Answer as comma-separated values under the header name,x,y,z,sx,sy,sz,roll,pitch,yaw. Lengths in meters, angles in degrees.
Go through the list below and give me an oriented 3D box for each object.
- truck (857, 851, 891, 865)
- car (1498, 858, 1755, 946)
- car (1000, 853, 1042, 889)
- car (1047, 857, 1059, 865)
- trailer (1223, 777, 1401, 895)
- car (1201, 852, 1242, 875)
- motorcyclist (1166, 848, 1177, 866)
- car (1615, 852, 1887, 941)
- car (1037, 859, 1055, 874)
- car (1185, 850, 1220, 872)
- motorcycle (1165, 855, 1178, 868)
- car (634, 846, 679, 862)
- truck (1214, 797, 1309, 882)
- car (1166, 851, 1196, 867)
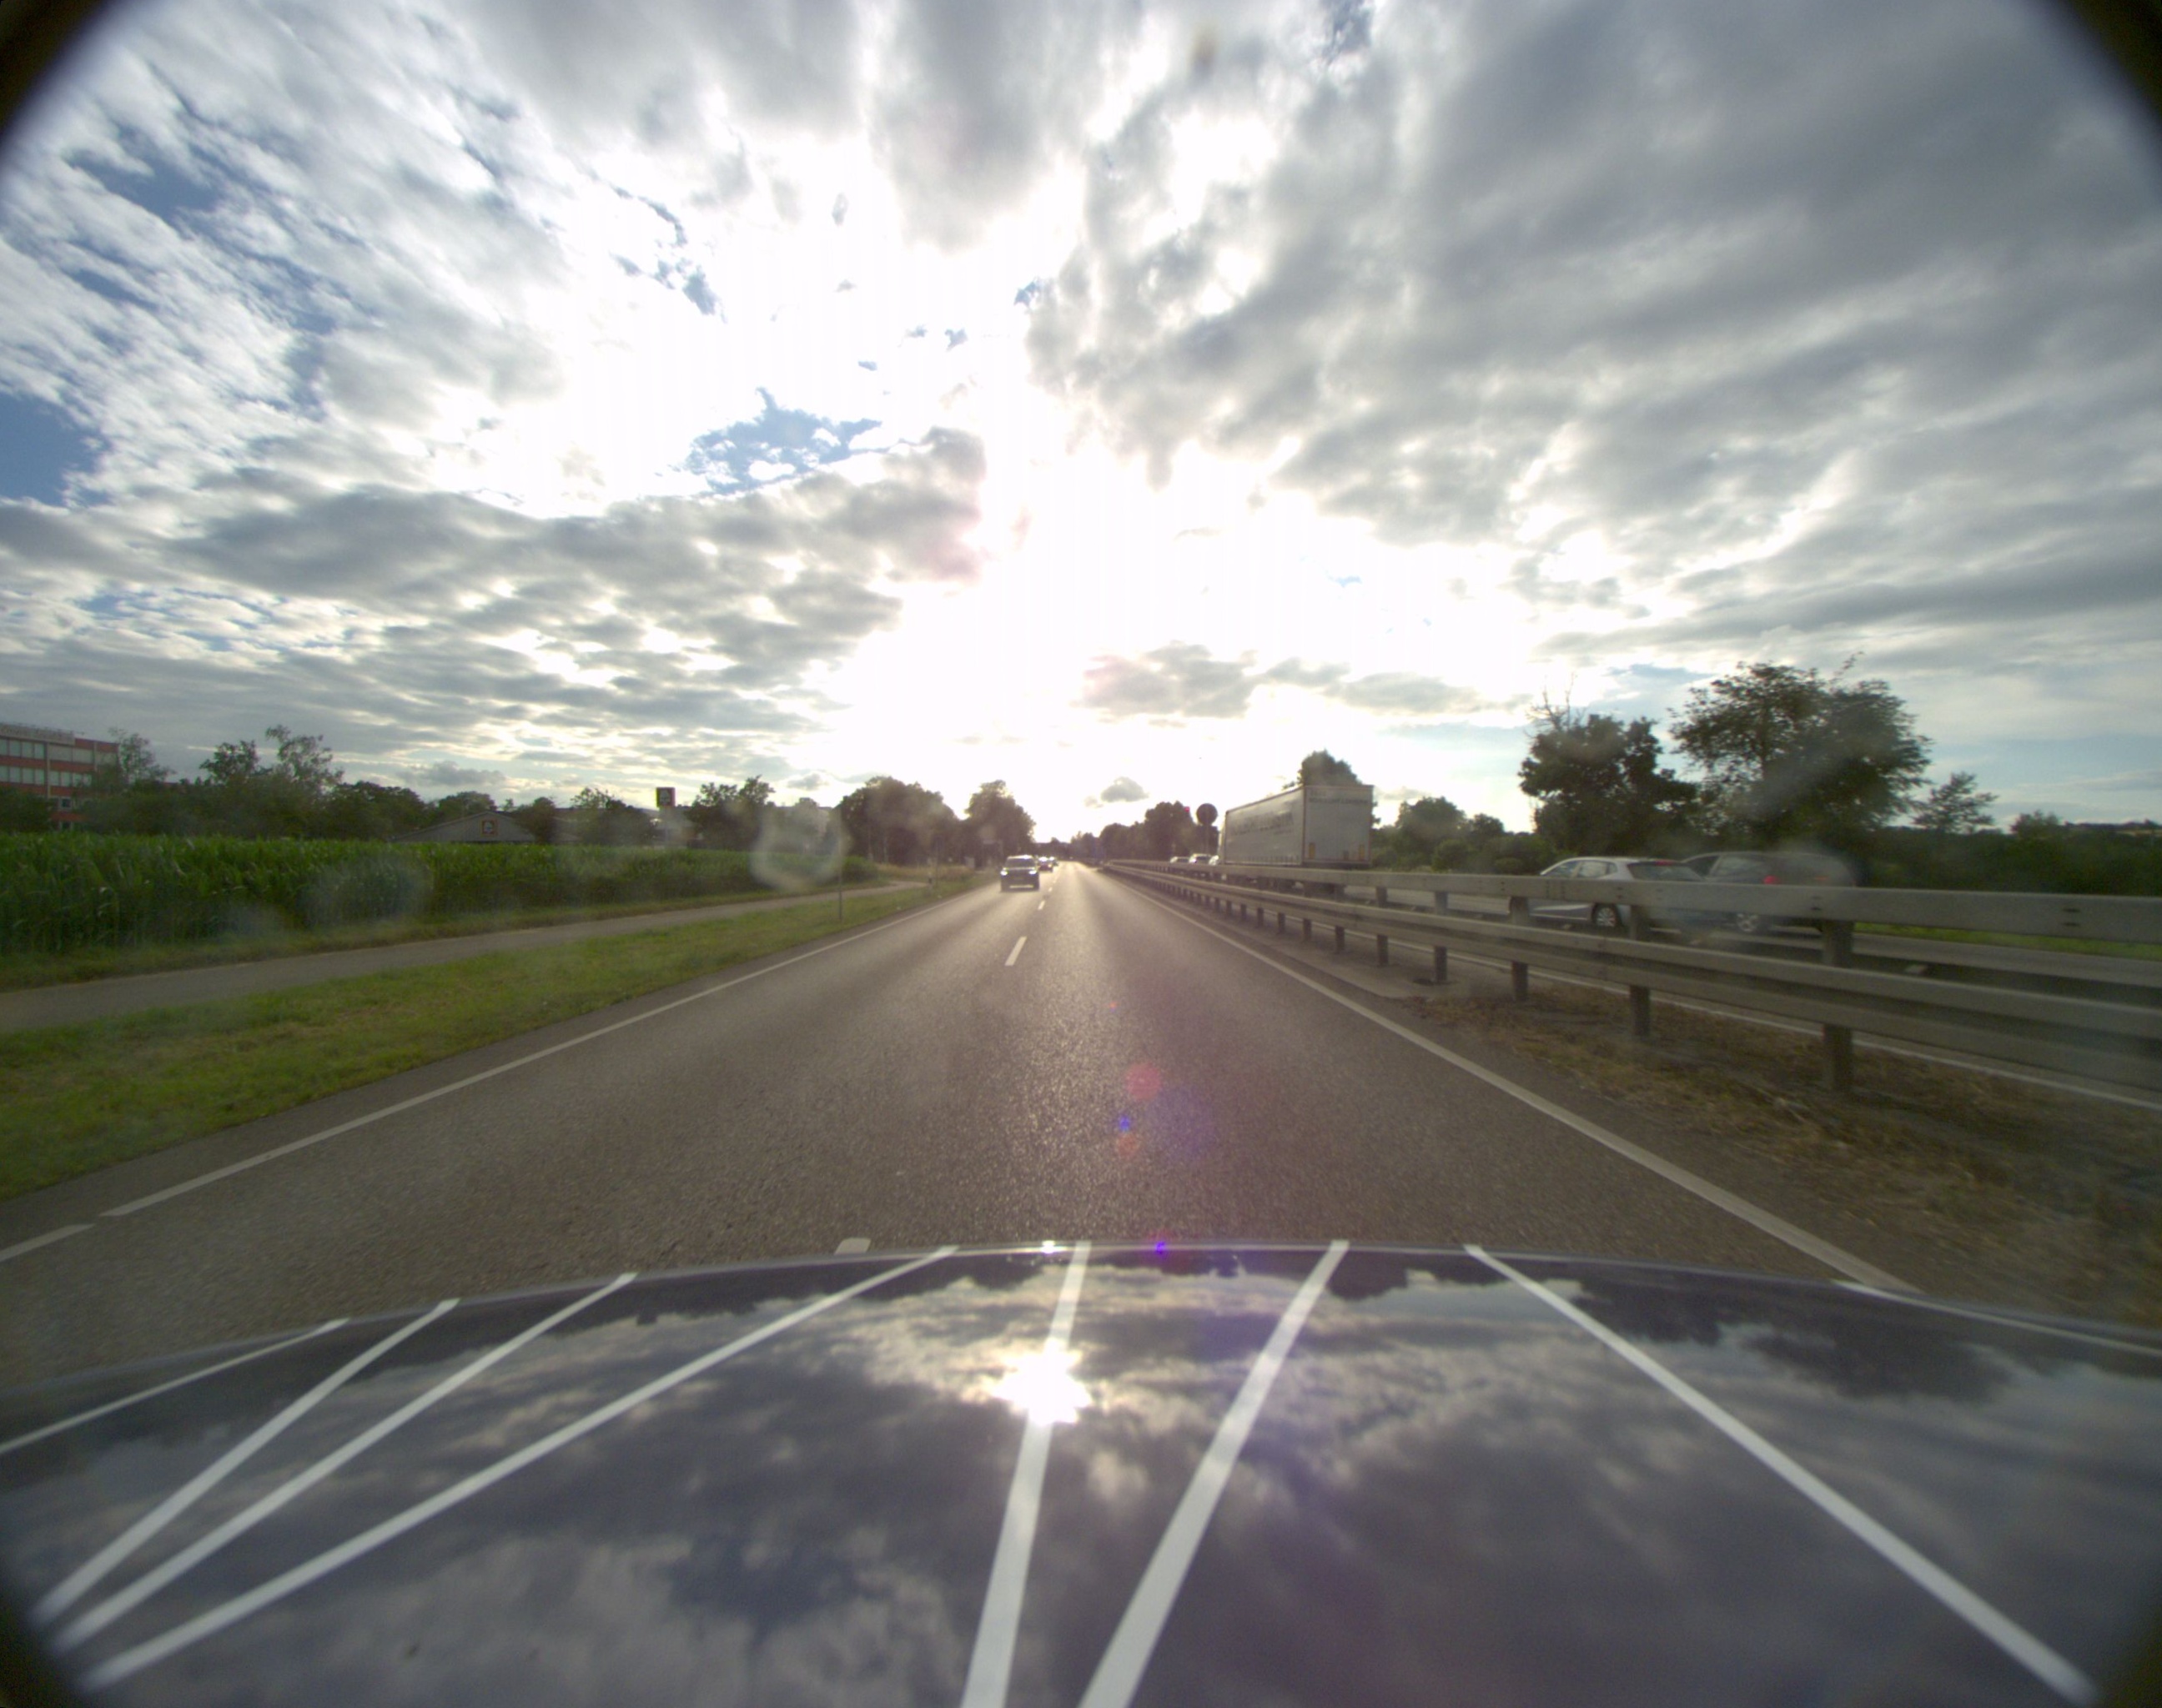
name,x,y,z,sx,sy,sz,roll,pitch,yaw
truck,-32.413,0.592,118.911,4.679,1.985,1.819,-2,1,-37
car,9.901,0.787,14.283,1.793,1.378,4.159,0,0,-1
car,-3.000,0.819,38.977,1.849,1.640,4.480,-3,0,-2
car,-4.754,1.189,130.054,1.999,1.486,3.999,0,0,-1
trailer,9.535,-0.667,34.074,3.474,4.126,13.913,1,0,-1
car,9.148,0.616,49.742,1.793,1.436,4.159,0,0,-1
motorcyclist,8.638,0.237,72.689,0.919,1.699,1.275,1,1,-1
car,13.218,0.746,15.409,1.793,1.564,4.159,0,0,-1
car,-3.692,1.280,80.204,1.667,1.424,3.994,-2,0,1
car,9.187,0.480,57.917,1.912,1.600,4.404,0,0,-1
motorcycle,8.645,0.676,72.696,0.919,1.196,2.478,1,1,0
car,-52.533,-0.005,94.088,4.304,1.873,1.960,2,0,-4
truck,9.463,-0.719,40.609,3.484,4.126,6.048,1,0,-1
car,8.817,0.432,67.344,1.912,1.420,5.151,0,0,-1
